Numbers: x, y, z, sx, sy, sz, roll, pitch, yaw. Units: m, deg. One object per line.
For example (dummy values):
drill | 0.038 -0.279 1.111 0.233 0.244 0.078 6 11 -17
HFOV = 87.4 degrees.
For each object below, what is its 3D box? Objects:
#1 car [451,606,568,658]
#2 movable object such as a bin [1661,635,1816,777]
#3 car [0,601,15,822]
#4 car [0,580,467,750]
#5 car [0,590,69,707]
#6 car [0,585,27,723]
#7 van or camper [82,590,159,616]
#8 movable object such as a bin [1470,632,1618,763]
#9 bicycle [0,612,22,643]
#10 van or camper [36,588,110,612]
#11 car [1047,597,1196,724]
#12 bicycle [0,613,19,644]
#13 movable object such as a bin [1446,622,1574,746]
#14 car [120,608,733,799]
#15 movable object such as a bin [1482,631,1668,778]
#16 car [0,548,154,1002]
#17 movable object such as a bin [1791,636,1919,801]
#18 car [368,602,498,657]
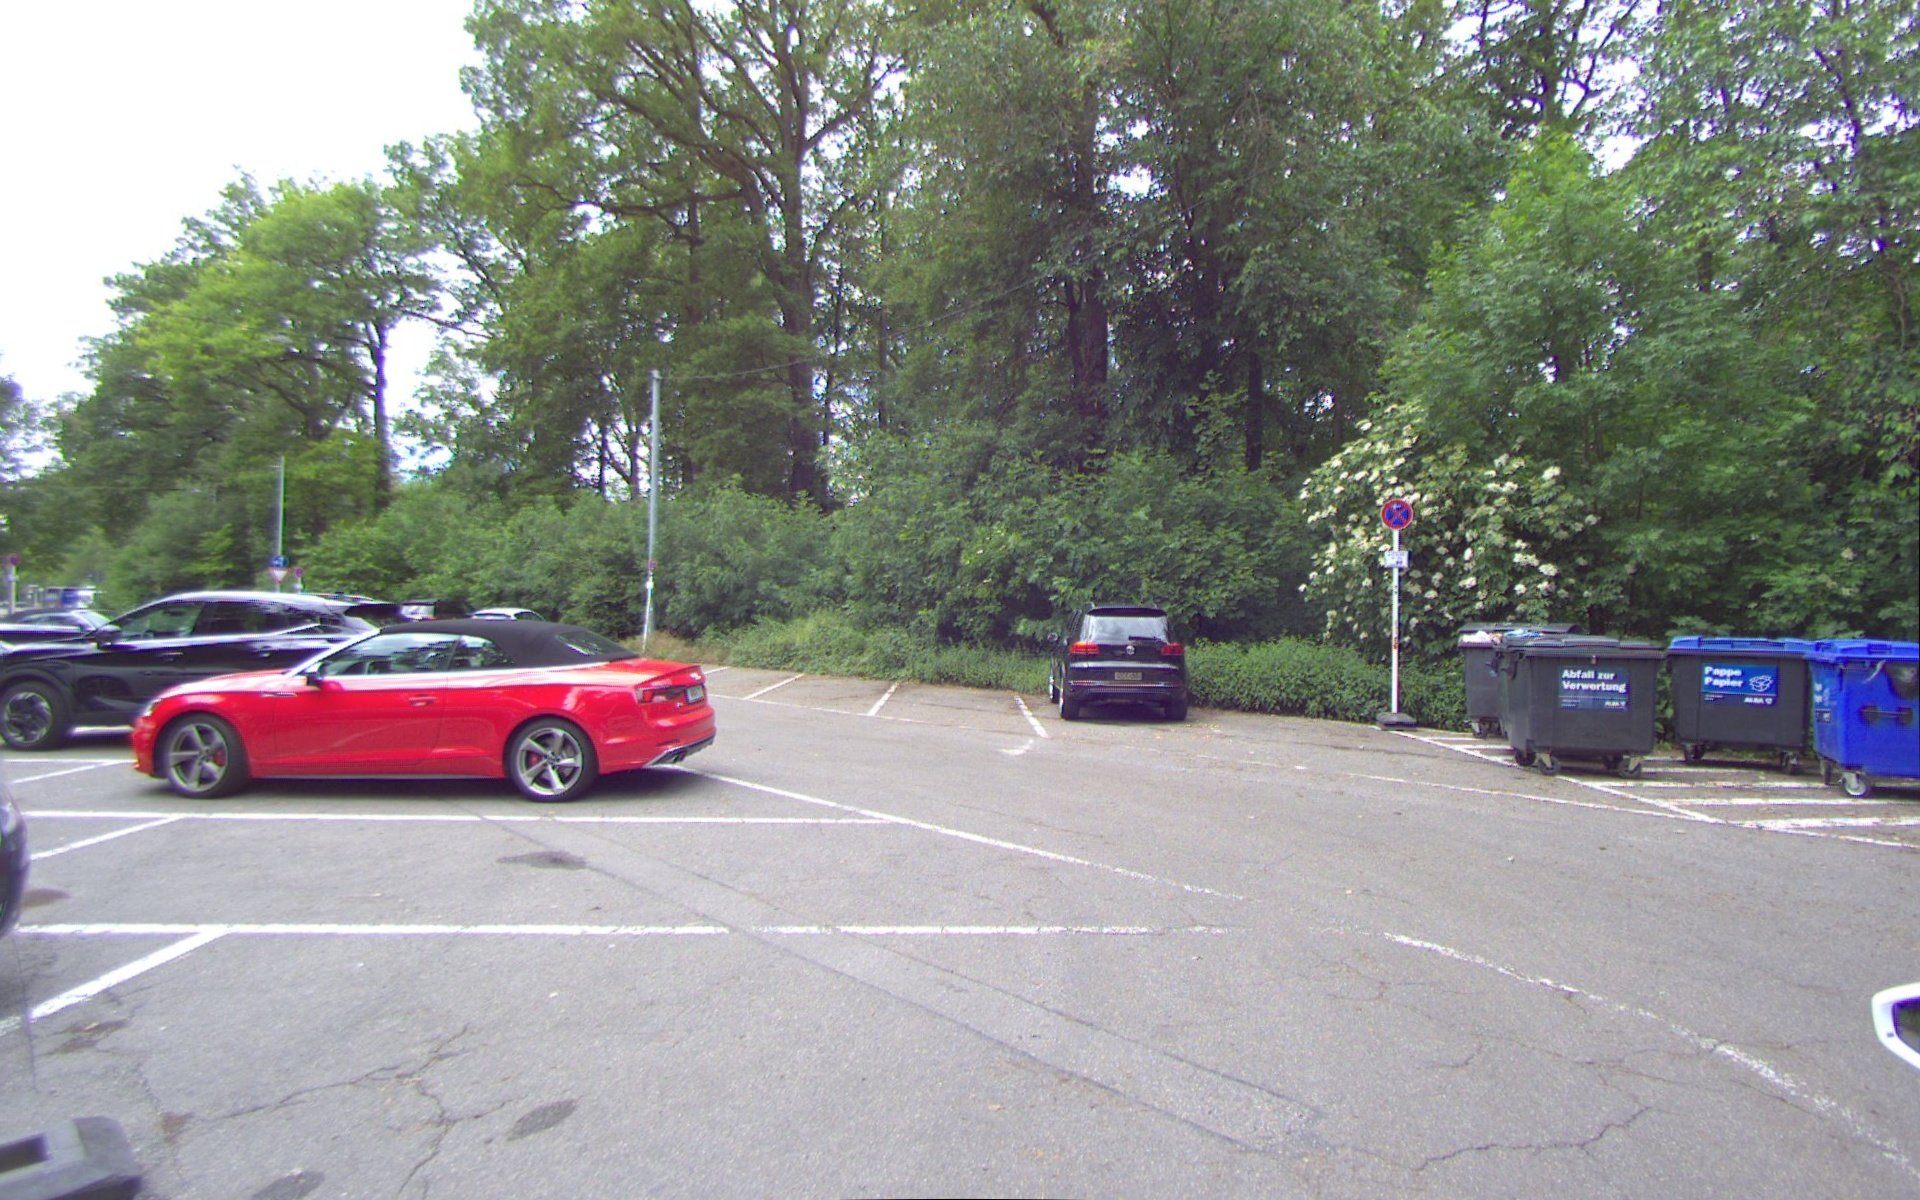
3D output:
car | -14.113 0.990 31.739 1.833 1.530 4.001 1 -1 0
movable object such as a bin | 8.113 1.050 10.476 1.221 1.337 1.122 0 -1 40
car | -8.406 0.697 5.758 4.195 1.462 1.759 1 -1 -2
car | -7.903 0.684 11.127 3.922 1.685 1.898 1 -1 -3
car | -14.850 0.632 13.471 3.926 1.575 1.871 1 -1 -7
car | -13.093 0.598 11.034 3.899 1.608 1.847 0 -1 -1
van or camper | -94.389 0.388 113.114 2.027 2.887 7.344 1 -1 5
movable object such as a bin | 6.415 1.037 11.121 1.161 1.332 1.127 1 -1 15
bicycle | -35.821 1.023 37.118 1.673 1.126 0.476 1 -1 -43
van or camper | -112.947 0.061 128.086 2.159 2.887 7.345 1 -1 10
car | 2.370 0.850 15.718 1.749 1.707 4.072 1 -1 1
bicycle | -34.991 1.016 36.044 1.776 1.126 0.476 1 -1 -43
movable object such as a bin | 6.945 1.016 12.686 1.119 1.444 1.117 2 -1 -42
car | -4.324 0.821 8.669 4.305 1.412 1.769 1 -1 0
movable object such as a bin | 6.043 0.985 9.980 1.287 1.324 1.173 1 -1 15
car | -5.580 0.600 3.301 4.302 1.630 1.829 1 -1 -2
movable object such as a bin | 8.196 1.005 8.891 1.126 1.342 1.254 0 -1 32
car | -18.483 1.024 35.521 2.070 1.790 4.709 1 -1 0
